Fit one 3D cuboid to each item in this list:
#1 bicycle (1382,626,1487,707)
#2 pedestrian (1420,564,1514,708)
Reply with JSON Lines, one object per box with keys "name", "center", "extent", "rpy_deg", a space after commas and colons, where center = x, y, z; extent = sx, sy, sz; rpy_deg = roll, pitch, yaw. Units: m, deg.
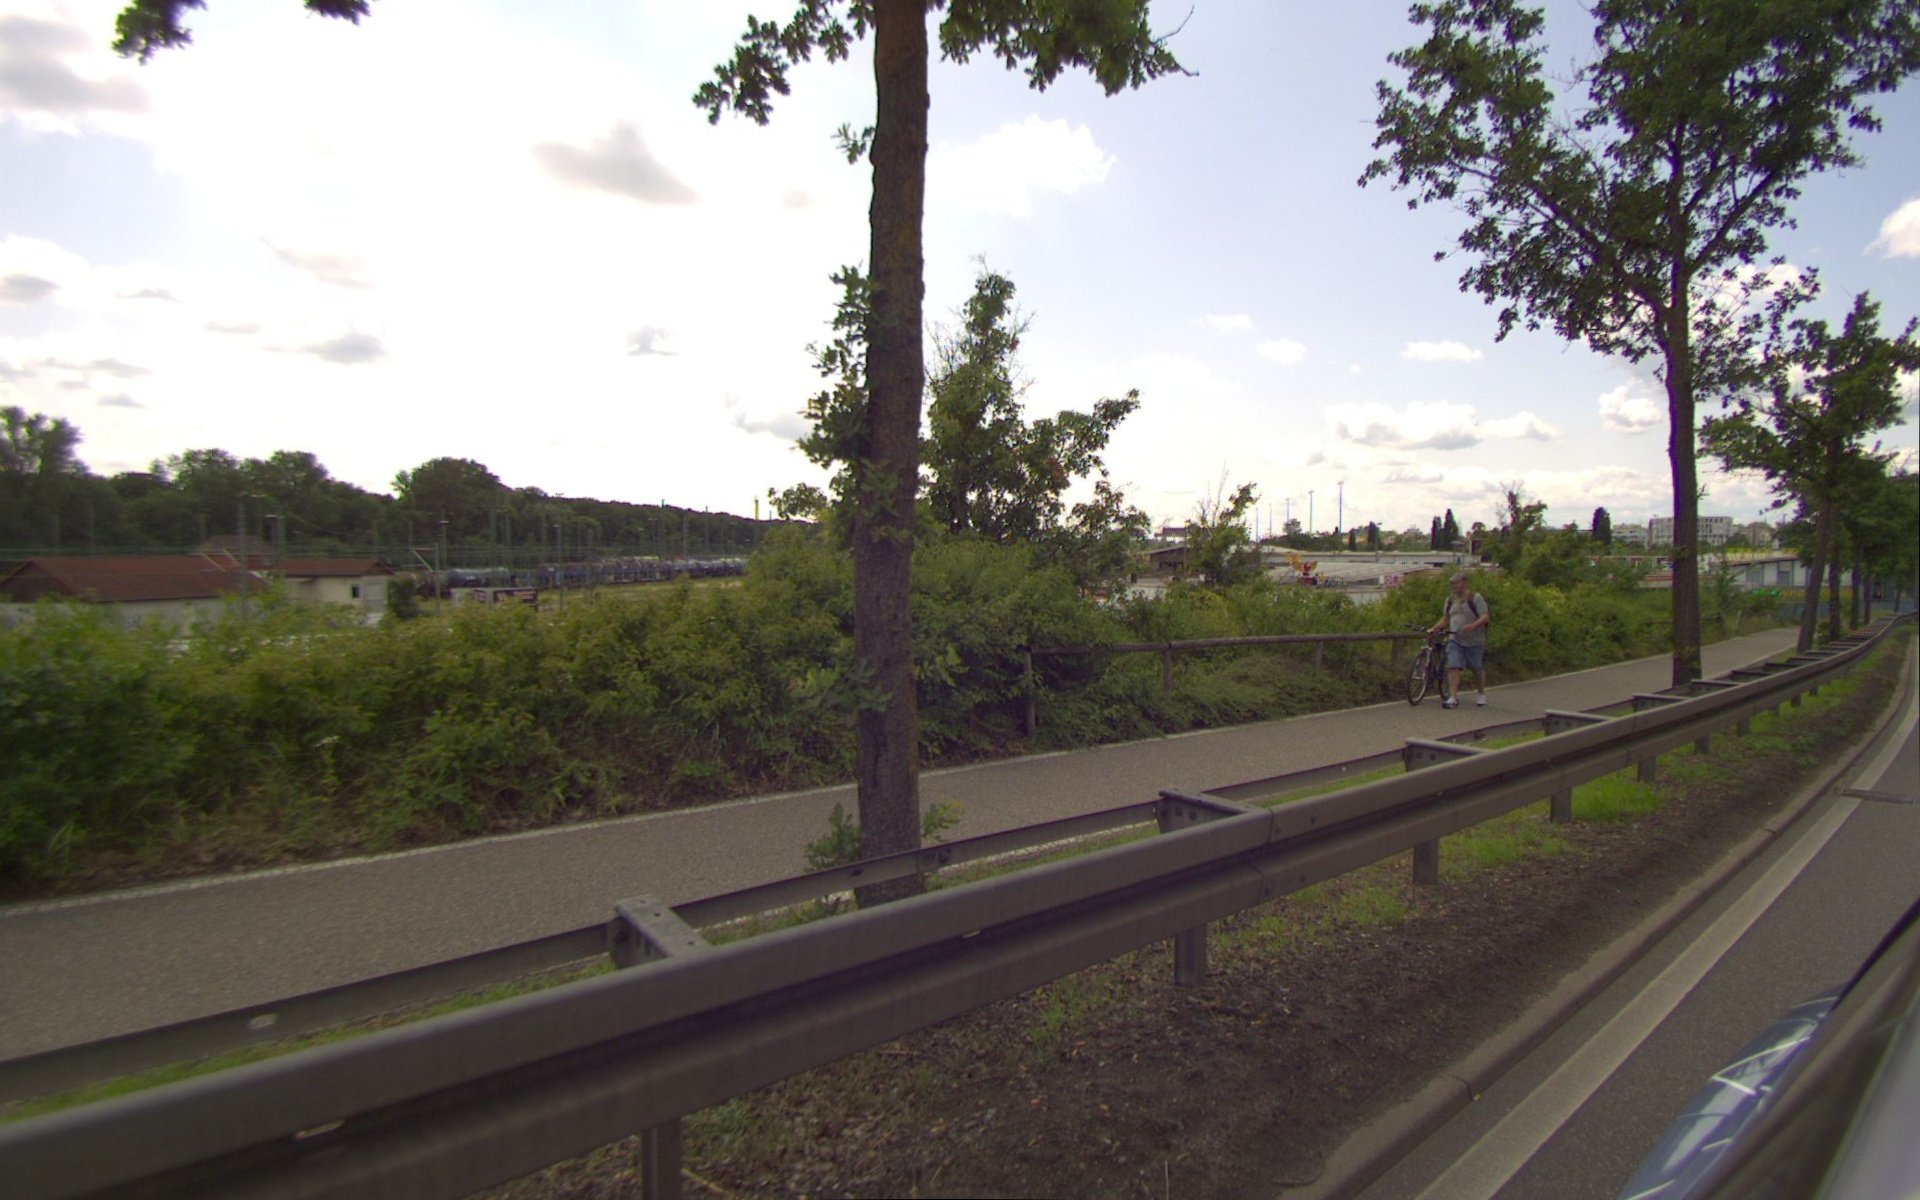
{"name": "bicycle", "center": [5.964, 0.802, 12.672], "extent": [1.795, 0.880, 0.557], "rpy_deg": [0, 3, -44]}
{"name": "pedestrian", "center": [6.201, 0.408, 12.365], "extent": [1.037, 1.662, 0.658], "rpy_deg": [0, 2, -44]}
